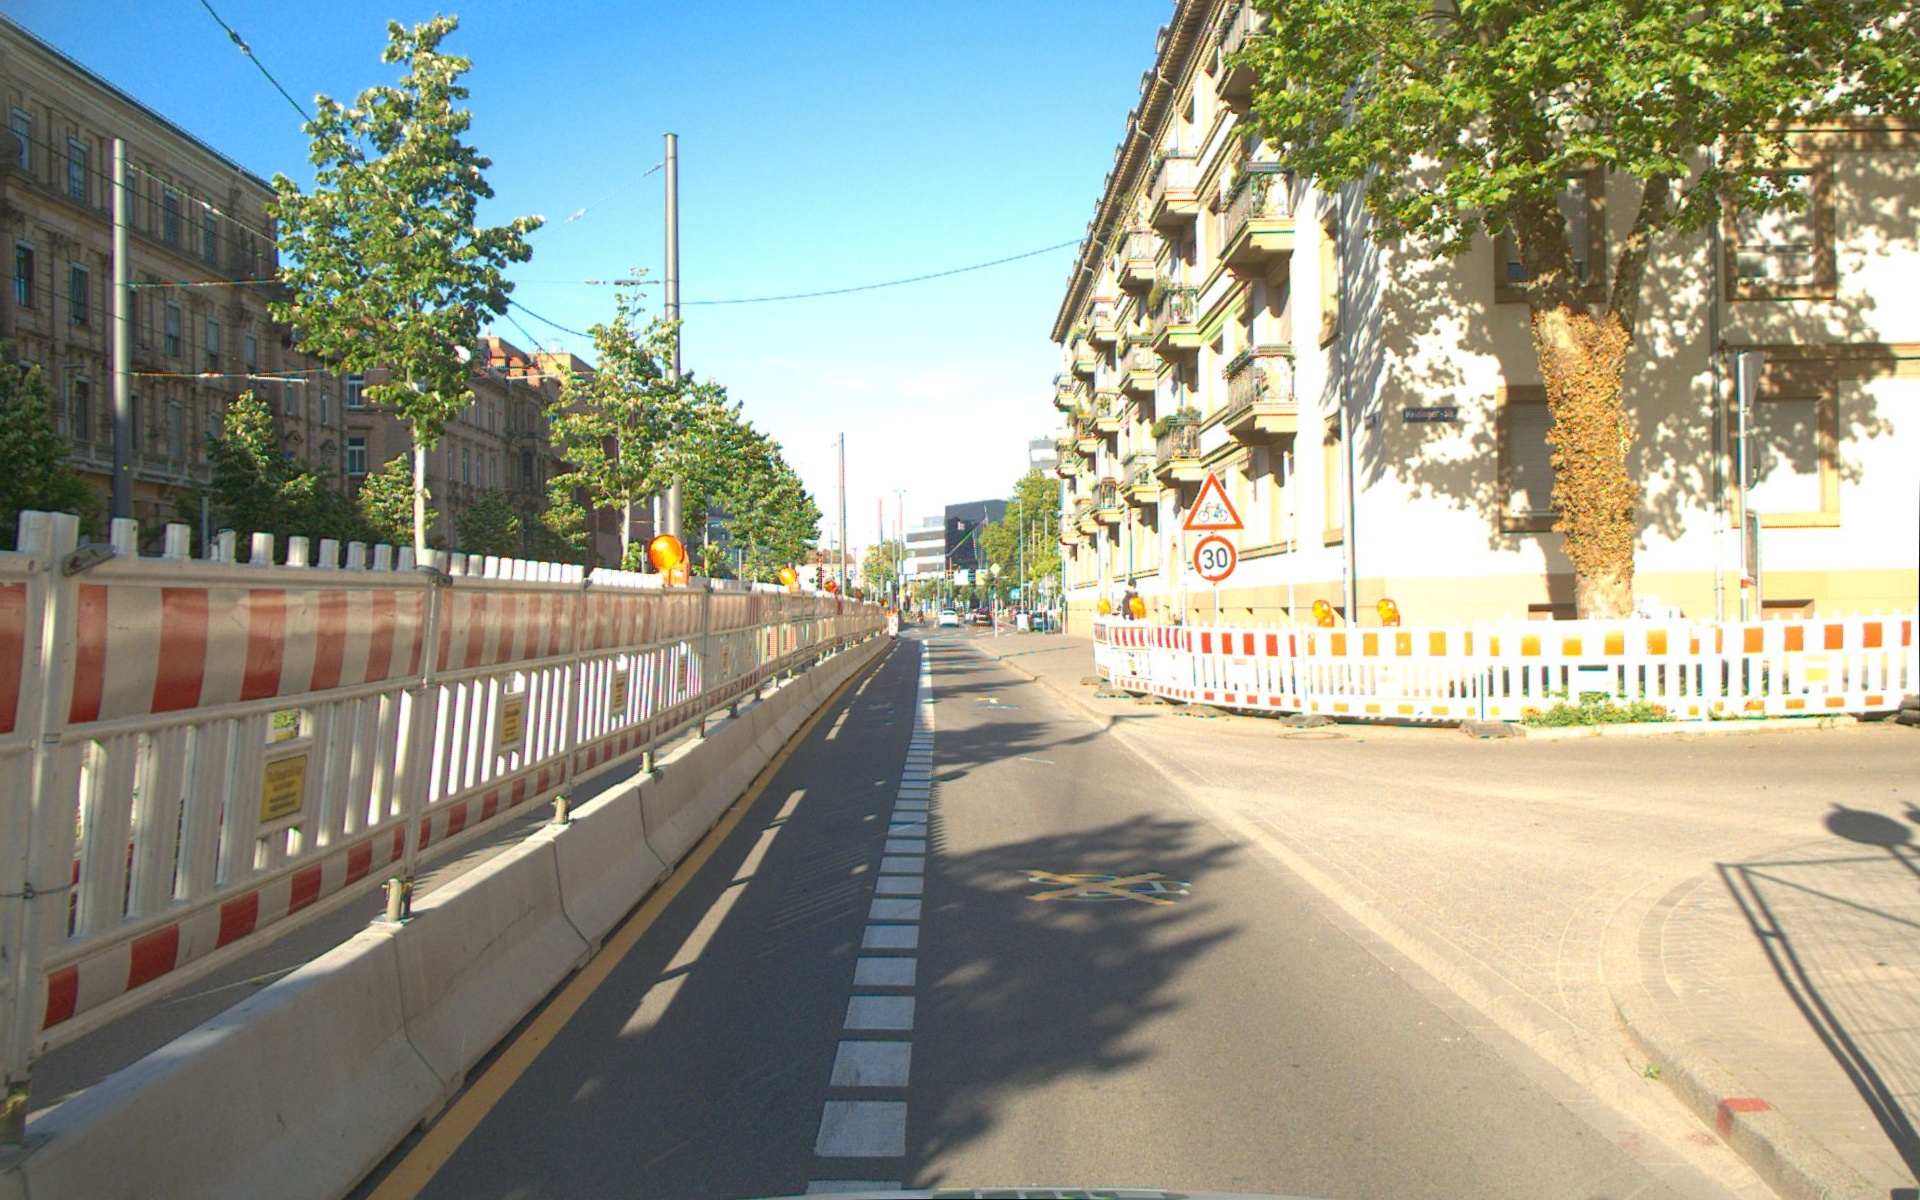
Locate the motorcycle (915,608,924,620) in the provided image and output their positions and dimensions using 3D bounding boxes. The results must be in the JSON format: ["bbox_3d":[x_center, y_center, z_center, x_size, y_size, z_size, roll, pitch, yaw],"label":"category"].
[{"bbox_3d":[-4.433,1.525,181.600,0.998,1.335,2.914,1,0,0],"label":"motorcycle"}]

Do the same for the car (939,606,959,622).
[{"bbox_3d":[-1.043,1.292,155.681,1.744,1.439,4.817,1,0,-1],"label":"car"}]

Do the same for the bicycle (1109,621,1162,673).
[{"bbox_3d":[3.507,0.930,33.171,0.752,0.969,2.197,-1,0,-2],"label":"bicycle"}]

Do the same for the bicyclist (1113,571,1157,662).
[{"bbox_3d":[3.505,0.328,33.182,0.718,1.794,0.937,-1,-1,-2],"label":"bicyclist"}]

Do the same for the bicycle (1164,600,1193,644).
[{"bbox_3d":[5.715,0.580,43.288,0.409,1.114,2.197,-1,0,-1],"label":"bicycle"}]

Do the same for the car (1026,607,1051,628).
[{"bbox_3d":[6.309,1.394,132.663,1.684,1.665,4.234,-2,-1,5],"label":"car"}]

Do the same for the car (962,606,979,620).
[{"bbox_3d":[1.193,1.425,186.239,1.813,1.524,4.378,-1,0,-1],"label":"car"}]

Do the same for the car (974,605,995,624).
[{"bbox_3d":[2.379,1.422,161.746,1.934,1.790,4.632,1,0,0],"label":"car"}]
